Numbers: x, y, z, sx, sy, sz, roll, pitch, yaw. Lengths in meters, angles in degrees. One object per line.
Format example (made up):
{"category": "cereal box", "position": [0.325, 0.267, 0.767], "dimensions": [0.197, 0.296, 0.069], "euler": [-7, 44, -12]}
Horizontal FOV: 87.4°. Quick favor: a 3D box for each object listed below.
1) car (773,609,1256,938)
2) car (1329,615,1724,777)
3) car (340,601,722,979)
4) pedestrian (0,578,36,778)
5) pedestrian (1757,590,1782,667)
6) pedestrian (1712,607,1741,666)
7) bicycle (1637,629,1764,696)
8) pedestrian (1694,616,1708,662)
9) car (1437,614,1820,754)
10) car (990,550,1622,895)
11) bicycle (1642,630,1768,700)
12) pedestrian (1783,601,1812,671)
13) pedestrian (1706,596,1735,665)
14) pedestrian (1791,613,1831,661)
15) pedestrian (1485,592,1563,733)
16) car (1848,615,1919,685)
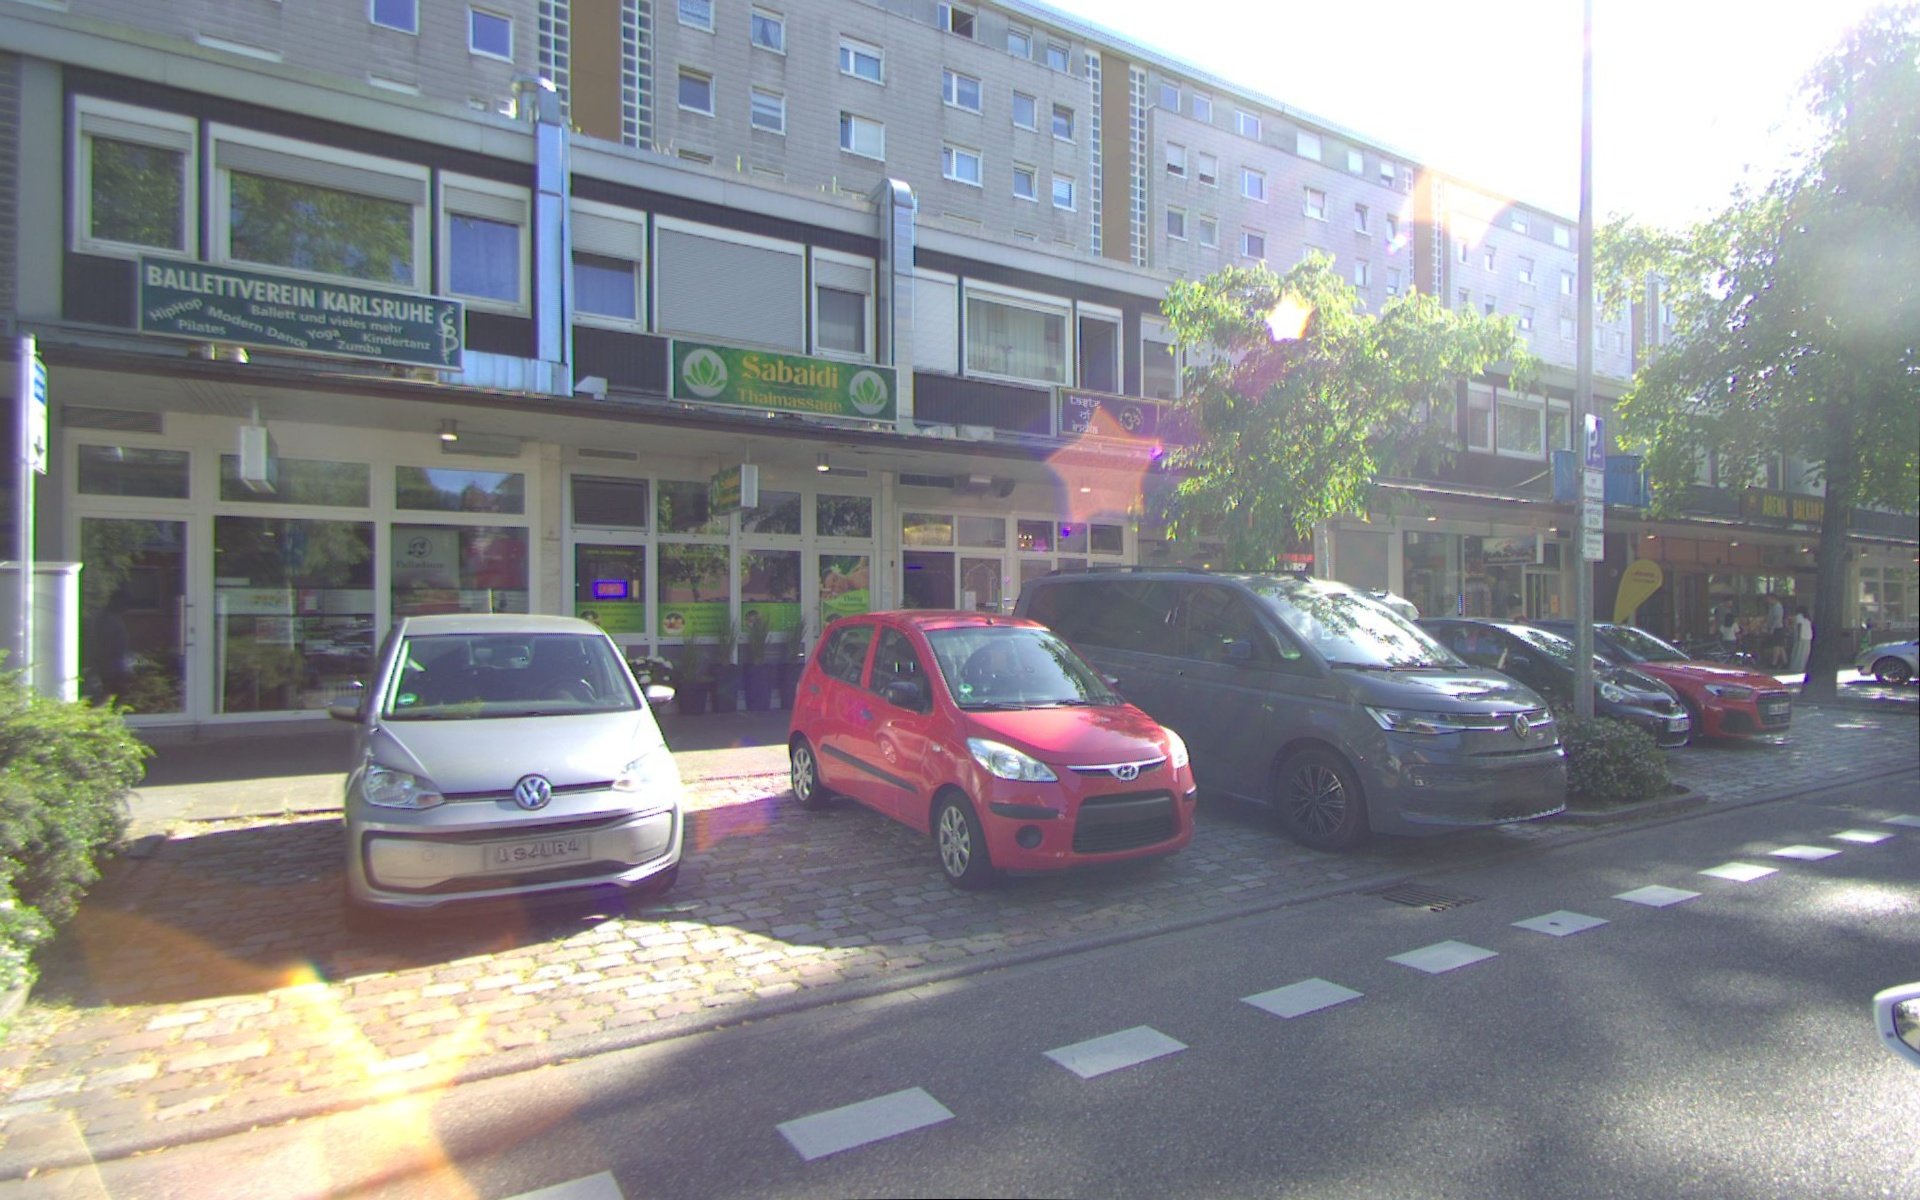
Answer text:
{"category": "car", "position": [0.111, 0.879, 6.927], "dimensions": [1.642, 1.575, 3.539], "euler": [0, 0, -31]}
{"category": "car", "position": [6.290, 0.945, 11.533], "dimensions": [1.596, 1.470, 3.644], "euler": [0, 0, -33]}
{"category": "car", "position": [-2.803, 0.818, 6.255], "dimensions": [1.652, 1.582, 3.569], "euler": [0, 0, -30]}
{"category": "pedestrian", "position": [-8.311, 0.661, 8.575], "dimensions": [0.526, 1.687, 0.441], "euler": [0, -1, -30]}
{"category": "pedestrian", "position": [20.862, 0.721, 25.891], "dimensions": [0.357, 1.960, 0.389], "euler": [1, 0, -29]}
{"category": "pedestrian", "position": [19.705, 0.932, 25.821], "dimensions": [0.416, 1.492, 0.465], "euler": [0, -1, -33]}
{"category": "bicycle", "position": [13.990, 1.151, 19.045], "dimensions": [0.579, 1.121, 1.861], "euler": [0, 1, -27]}
{"category": "pedestrian", "position": [20.429, 1.061, 27.691], "dimensions": [0.212, 1.261, 0.211], "euler": [1, 0, -29]}
{"category": "car", "position": [8.526, 0.958, 13.211], "dimensions": [1.686, 1.470, 3.906], "euler": [0, 0, -25]}
{"category": "car", "position": [2.340, 0.684, 8.359], "dimensions": [1.851, 1.964, 5.006], "euler": [0, 0, -30]}
{"category": "bicycle", "position": [13.410, 1.147, 18.132], "dimensions": [0.615, 1.132, 1.712], "euler": [0, 1, -27]}
{"category": "pedestrian", "position": [21.008, 0.889, 25.184], "dimensions": [0.496, 1.728, 0.389], "euler": [1, 0, -30]}
{"category": "pedestrian", "position": [20.095, 0.797, 26.550], "dimensions": [0.423, 1.806, 0.482], "euler": [0, -1, -33]}
{"category": "pedestrian", "position": [24.677, 1.067, 29.125], "dimensions": [0.696, 1.348, 0.718], "euler": [1, 0, -33]}
{"category": "pedestrian", "position": [7.085, 0.773, 12.645], "dimensions": [0.622, 1.735, 0.581], "euler": [0, -1, -2]}
{"category": "car", "position": [21.355, 1.042, 20.903], "dimensions": [1.839, 1.476, 3.967], "euler": [0, -1, -31]}
